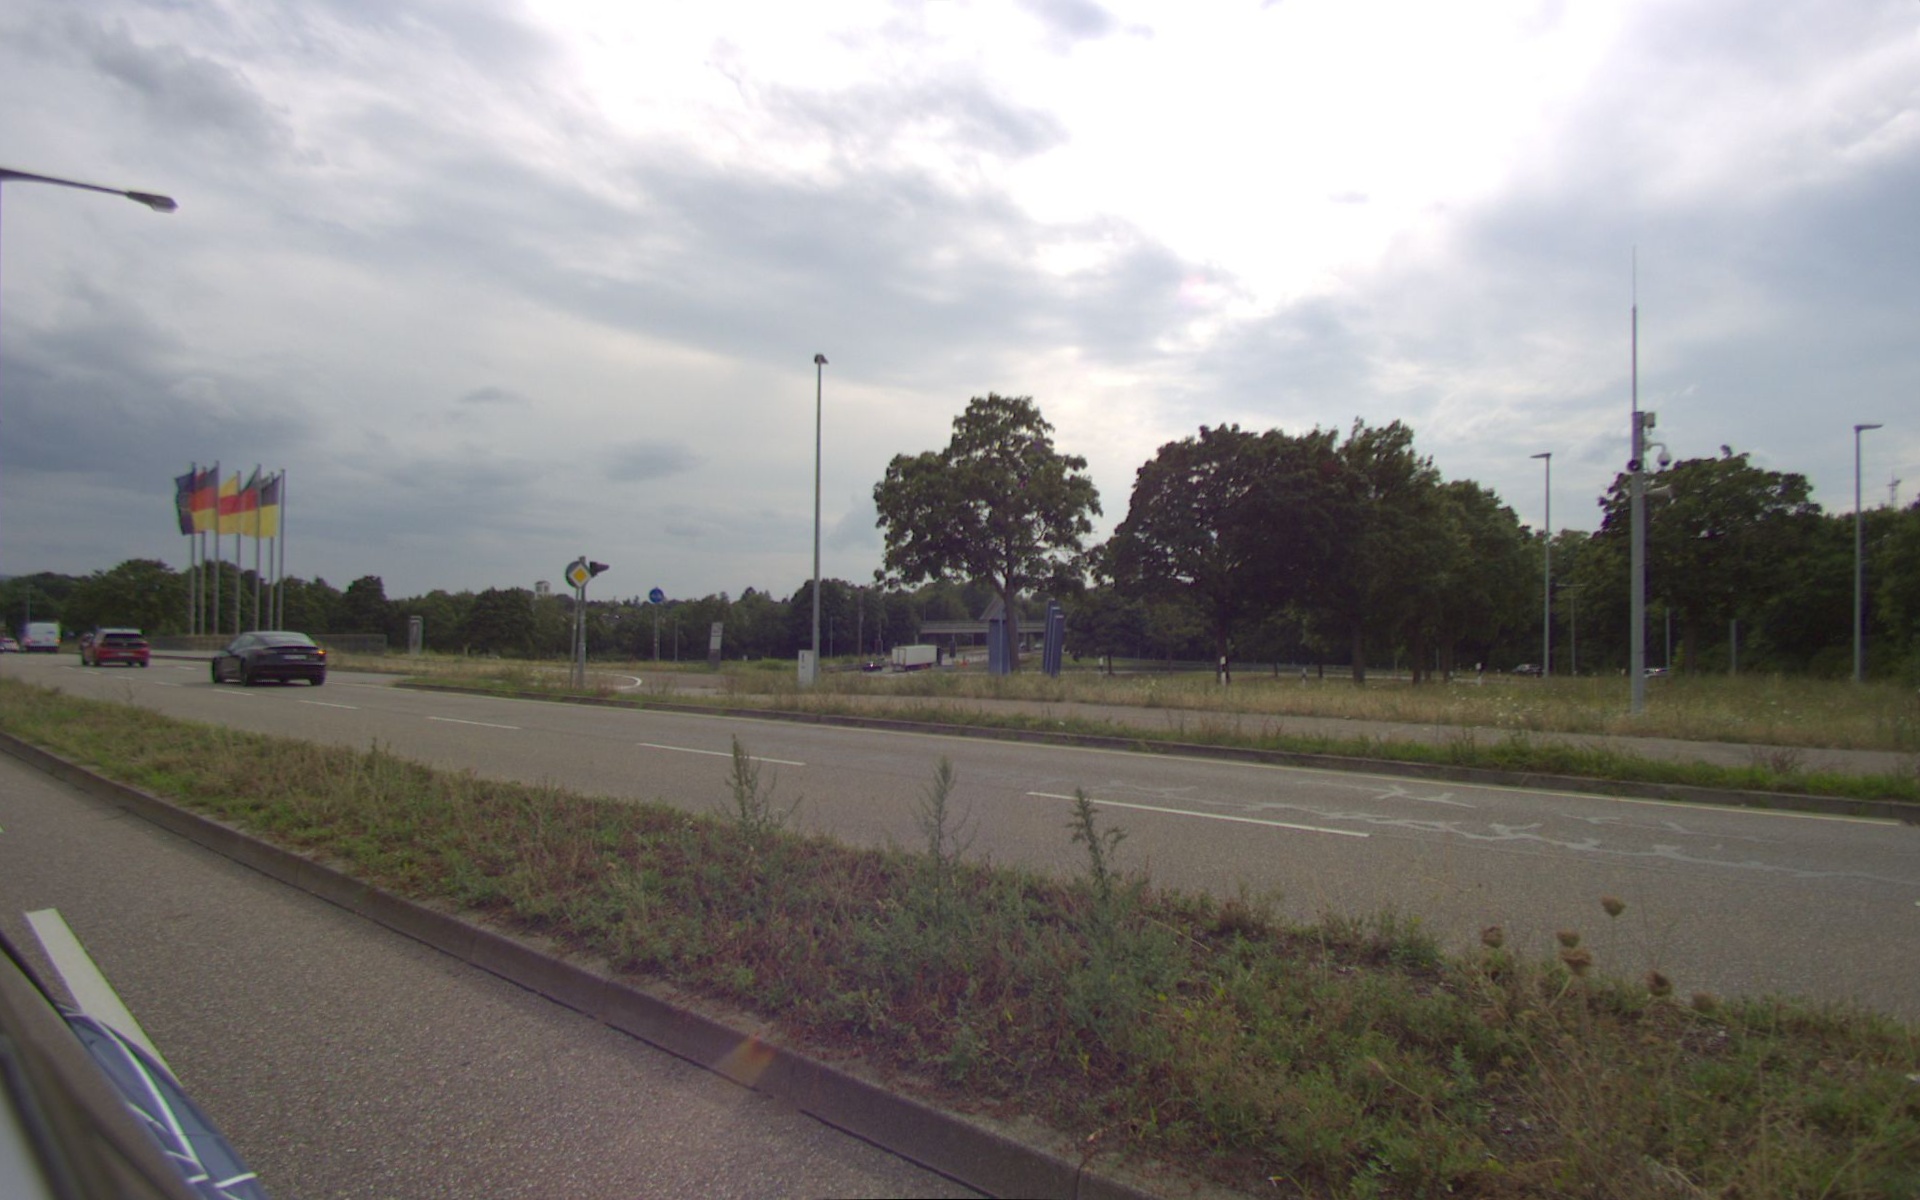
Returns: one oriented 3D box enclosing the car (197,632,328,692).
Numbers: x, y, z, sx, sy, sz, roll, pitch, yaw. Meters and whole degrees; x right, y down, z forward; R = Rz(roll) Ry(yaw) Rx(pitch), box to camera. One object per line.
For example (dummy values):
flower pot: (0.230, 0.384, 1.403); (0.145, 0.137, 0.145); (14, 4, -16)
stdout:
car: (-18.944, 1.631, 27.420); (4.561, 1.487, 1.727); (-2, -3, 40)

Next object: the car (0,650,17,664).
car: (-100.718, 6.001, 106.435); (4.469, 1.492, 1.720); (-2, -4, 42)

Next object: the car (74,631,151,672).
car: (-35.260, 2.135, 42.057); (4.334, 1.586, 1.634); (-2, -5, 40)

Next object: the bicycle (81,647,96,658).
bicycle: (-80.343, 4.831, 93.247); (2.057, 1.057, 0.699); (-2, -2, 39)

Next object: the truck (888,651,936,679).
truck: (-8.129, 11.138, 175.142); (3.008, 4.376, 13.907); (-1, -2, 21)

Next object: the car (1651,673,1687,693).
car: (56.309, 6.596, 80.396); (1.565, 1.407, 3.847); (-1, -3, 24)

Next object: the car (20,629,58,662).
car: (-76.163, 3.779, 83.663); (2.029, 2.663, 6.404); (4, -5, -44)

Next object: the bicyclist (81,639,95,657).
bicyclist: (-80.390, 4.442, 93.288); (0.975, 1.639, 0.787); (-2, -2, 39)

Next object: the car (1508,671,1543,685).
car: (60.526, 8.320, 108.392); (1.552, 1.407, 3.879); (0, -2, -1)
